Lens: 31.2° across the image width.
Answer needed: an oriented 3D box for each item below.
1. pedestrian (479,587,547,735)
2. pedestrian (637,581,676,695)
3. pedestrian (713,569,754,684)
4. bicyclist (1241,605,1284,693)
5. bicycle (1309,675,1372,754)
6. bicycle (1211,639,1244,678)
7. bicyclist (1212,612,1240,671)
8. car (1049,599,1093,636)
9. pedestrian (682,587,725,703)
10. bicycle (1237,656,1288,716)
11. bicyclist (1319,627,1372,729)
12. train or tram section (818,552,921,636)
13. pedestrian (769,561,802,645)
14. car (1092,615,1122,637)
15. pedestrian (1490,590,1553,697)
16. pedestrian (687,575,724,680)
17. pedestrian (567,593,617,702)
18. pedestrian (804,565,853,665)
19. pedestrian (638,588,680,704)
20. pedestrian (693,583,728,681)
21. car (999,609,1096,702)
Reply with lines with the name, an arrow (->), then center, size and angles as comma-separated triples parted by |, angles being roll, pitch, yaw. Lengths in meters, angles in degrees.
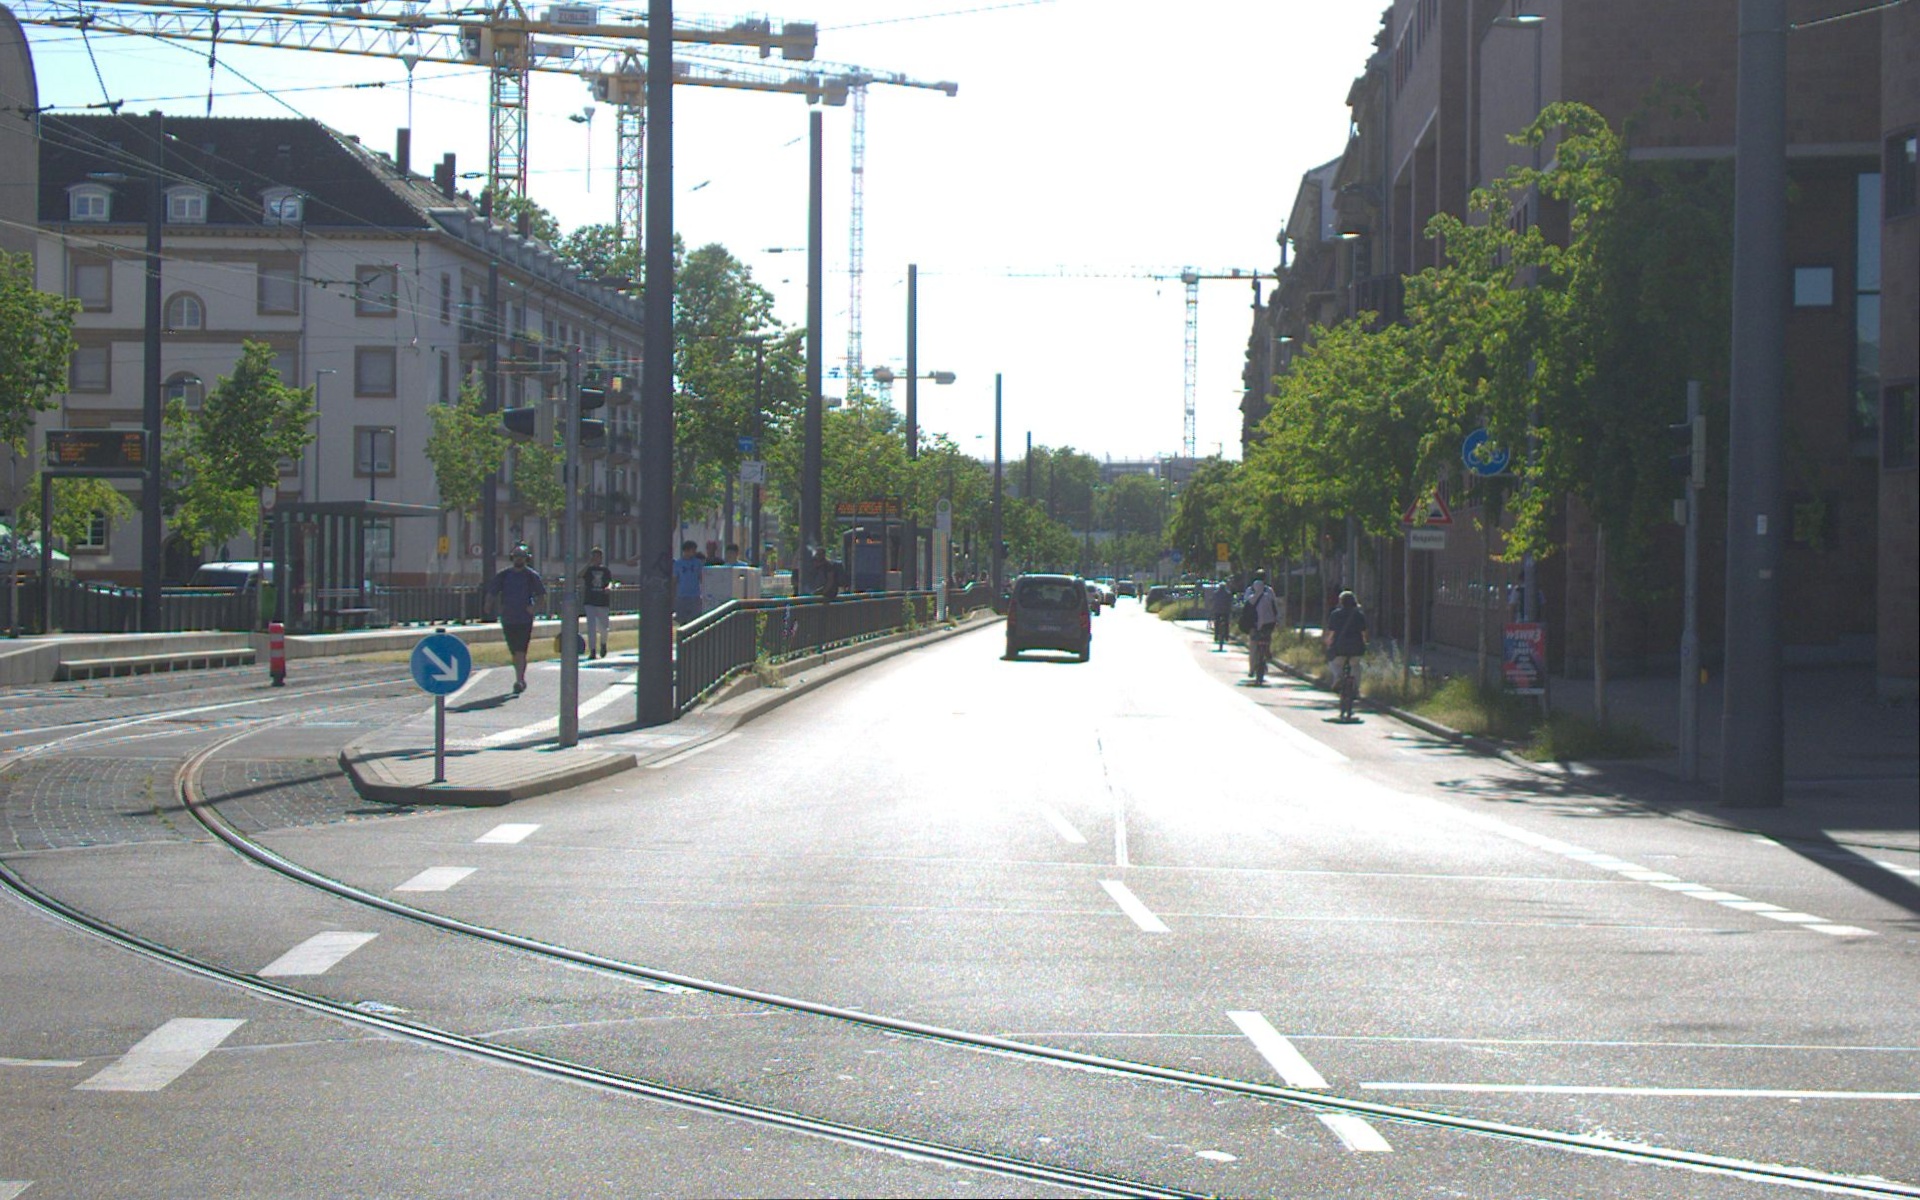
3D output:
pedestrian -> -5.172, 0.696, 39.839 | 0.614, 1.663, 0.864 | -2, 0, 0
pedestrian -> -4.761, 0.592, 53.979 | 0.538, 1.767, 0.633 | 0, 0, 0
pedestrian -> -3.272, 0.386, 49.720 | 0.538, 1.649, 0.706 | 0, 0, 0
bicyclist -> 5.291, 0.851, 60.113 | 0.667, 1.522, 0.707 | 1, 0, 0
bicycle -> 5.136, 1.536, 46.477 | 0.603, 0.982, 2.314 | 1, 0, 0
bicycle -> 7.044, 1.535, 90.704 | 0.667, 0.982, 2.586 | 1, 0, 0
bicyclist -> 7.033, 1.093, 90.855 | 0.667, 1.522, 0.707 | 1, 0, 0
car -> 5.386, 0.830, 166.631 | 1.993, 1.722, 4.000 | 1, 0, 0
pedestrian -> -3.691, 0.645, 49.549 | 0.538, 1.649, 0.896 | 0, 0, 0
bicycle -> 5.288, 1.496, 60.239 | 0.667, 0.982, 2.586 | 1, 0, 0
bicyclist -> 5.139, 1.037, 45.912 | 0.592, 1.331, 0.933 | 1, 0, 0
train or tram section -> -3.377, -0.235, 131.703 | 2.327, 2.993, 13.157 | 2, 0, 5
pedestrian -> -3.441, 0.064, 67.696 | 0.600, 1.649, 0.666 | 0, 0, 0
car -> 9.793, 1.699, 229.410 | 1.994, 1.415, 4.000 | 0, 0, 2
pedestrian -> 9.133, 0.707, 55.959 | 0.880, 1.711, 0.931 | 0, 0, 0
pedestrian -> -3.784, 0.408, 51.127 | 0.518, 1.546, 0.601 | 0, 0, -2
pedestrian -> -5.321, 0.686, 49.710 | 0.600, 1.561, 0.914 | 0, 0, 0
pedestrian -> -2.277, 0.260, 59.635 | 0.716, 1.729, 0.602 | 1, 0, -16
pedestrian -> -4.320, 0.653, 49.384 | 0.510, 1.649, 0.761 | 0, 0, 0
pedestrian -> -4.230, 0.546, 58.285 | 0.538, 1.649, 0.633 | 0, 0, 0
car -> 1.841, 1.163, 73.771 | 1.993, 1.941, 4.000 | 0, 0, 0
